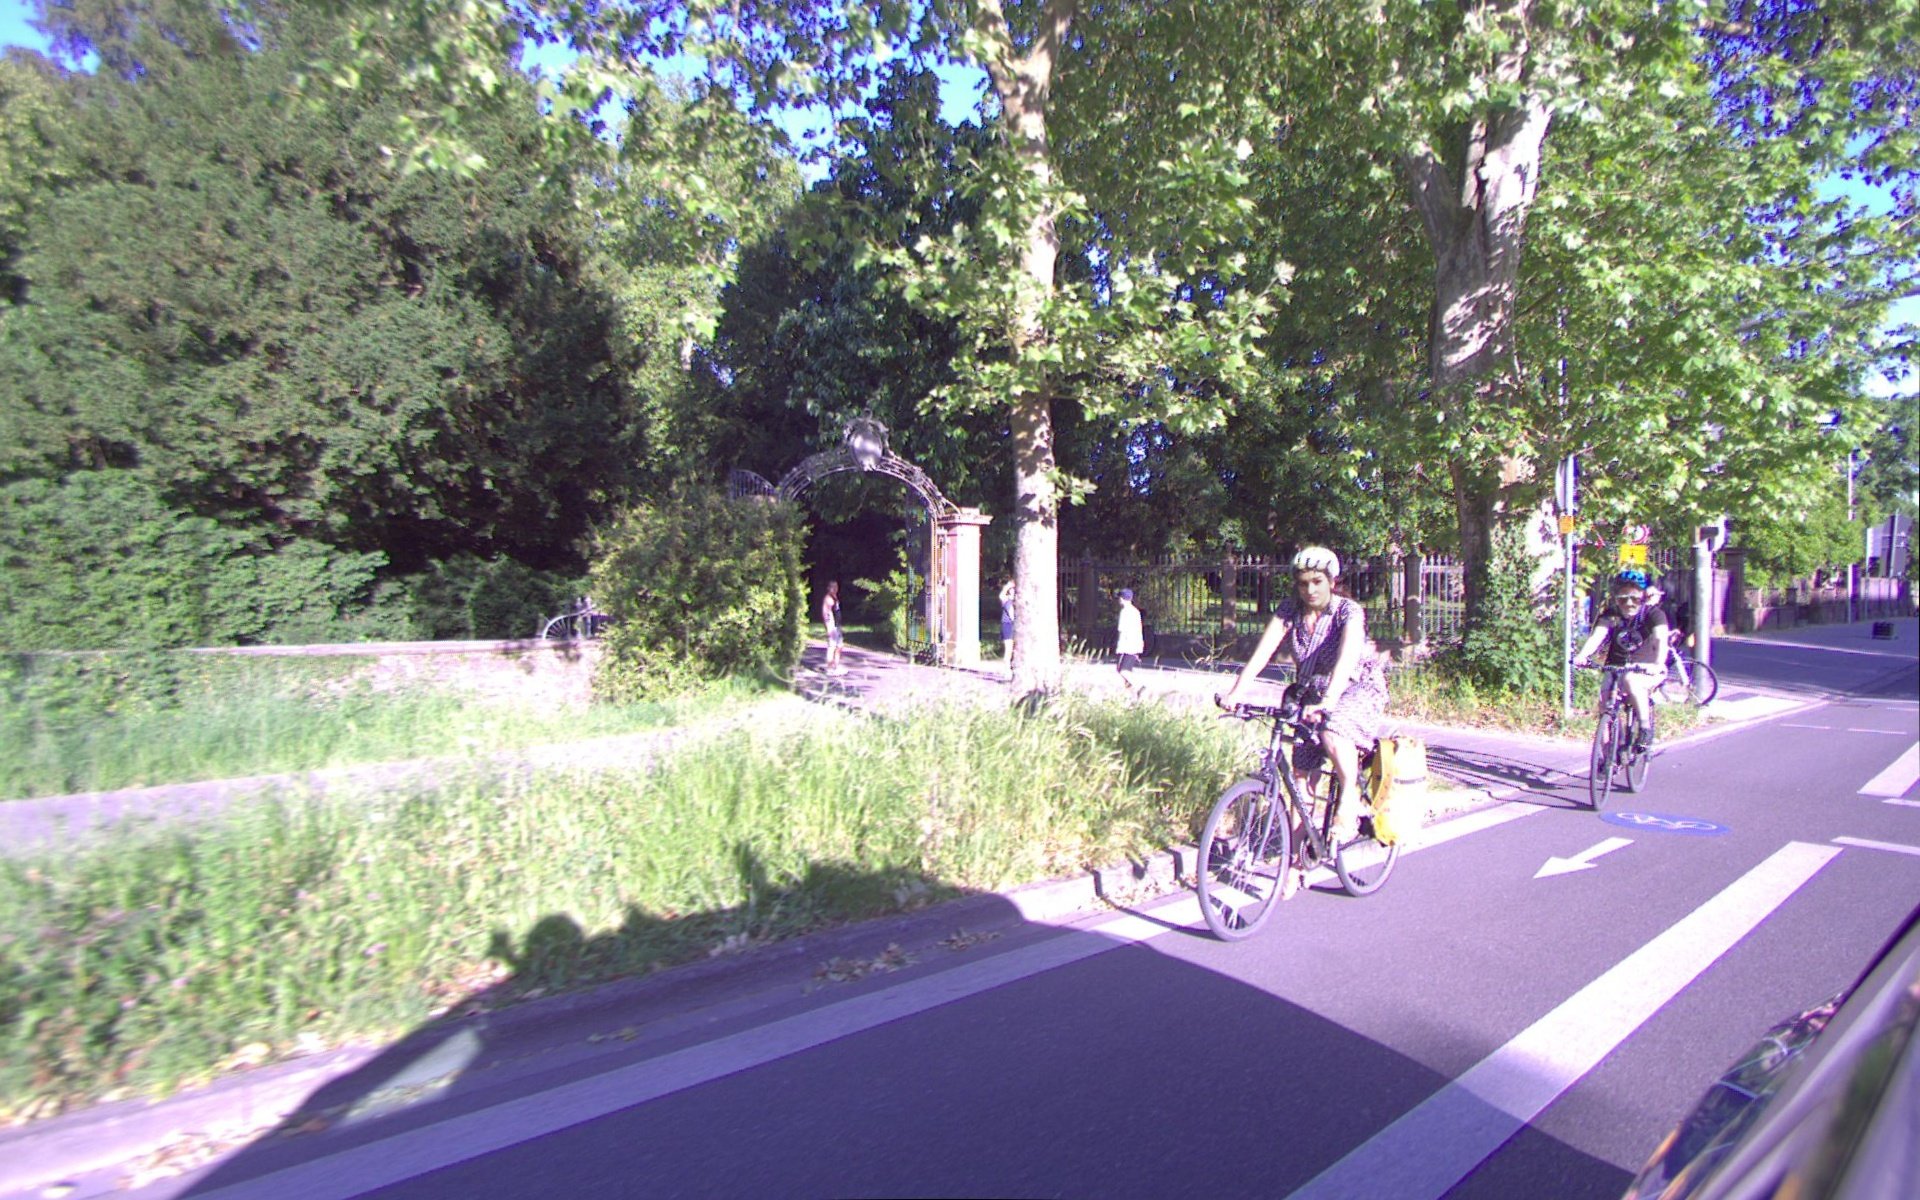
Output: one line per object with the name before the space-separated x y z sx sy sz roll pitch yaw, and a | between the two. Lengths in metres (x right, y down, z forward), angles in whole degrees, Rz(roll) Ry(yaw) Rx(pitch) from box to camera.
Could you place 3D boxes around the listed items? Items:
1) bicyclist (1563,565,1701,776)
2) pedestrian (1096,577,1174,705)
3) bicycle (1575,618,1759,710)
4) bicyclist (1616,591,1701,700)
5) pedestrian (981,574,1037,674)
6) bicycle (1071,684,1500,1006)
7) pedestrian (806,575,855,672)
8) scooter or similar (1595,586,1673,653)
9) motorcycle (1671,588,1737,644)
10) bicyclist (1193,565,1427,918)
bicyclist | 5.194 0.493 7.814 0.878 1.520 0.694 0 1 -44
pedestrian | 2.212 0.492 12.836 0.667 1.565 0.693 0 1 -32
bicycle | 9.859 0.854 14.191 0.682 1.109 1.992 0 1 -33
bicyclist | 9.823 0.619 14.235 0.682 1.465 0.767 0 1 -33
pedestrian | 0.834 0.385 17.235 0.667 1.654 0.693 0 1 -32
bicycle | 1.589 1.033 4.805 2.093 1.109 0.696 0 1 -30
pedestrian | -2.387 0.423 18.630 0.667 1.733 0.692 0 -1 -32
scooter or similar | 13.912 0.381 20.881 1.804 1.270 0.794 -1 5 -41
motorcycle | 18.649 0.374 25.354 2.002 1.309 0.906 -1 1 -41
bicyclist | 1.653 0.594 4.819 0.784 1.509 0.696 0 1 -29
